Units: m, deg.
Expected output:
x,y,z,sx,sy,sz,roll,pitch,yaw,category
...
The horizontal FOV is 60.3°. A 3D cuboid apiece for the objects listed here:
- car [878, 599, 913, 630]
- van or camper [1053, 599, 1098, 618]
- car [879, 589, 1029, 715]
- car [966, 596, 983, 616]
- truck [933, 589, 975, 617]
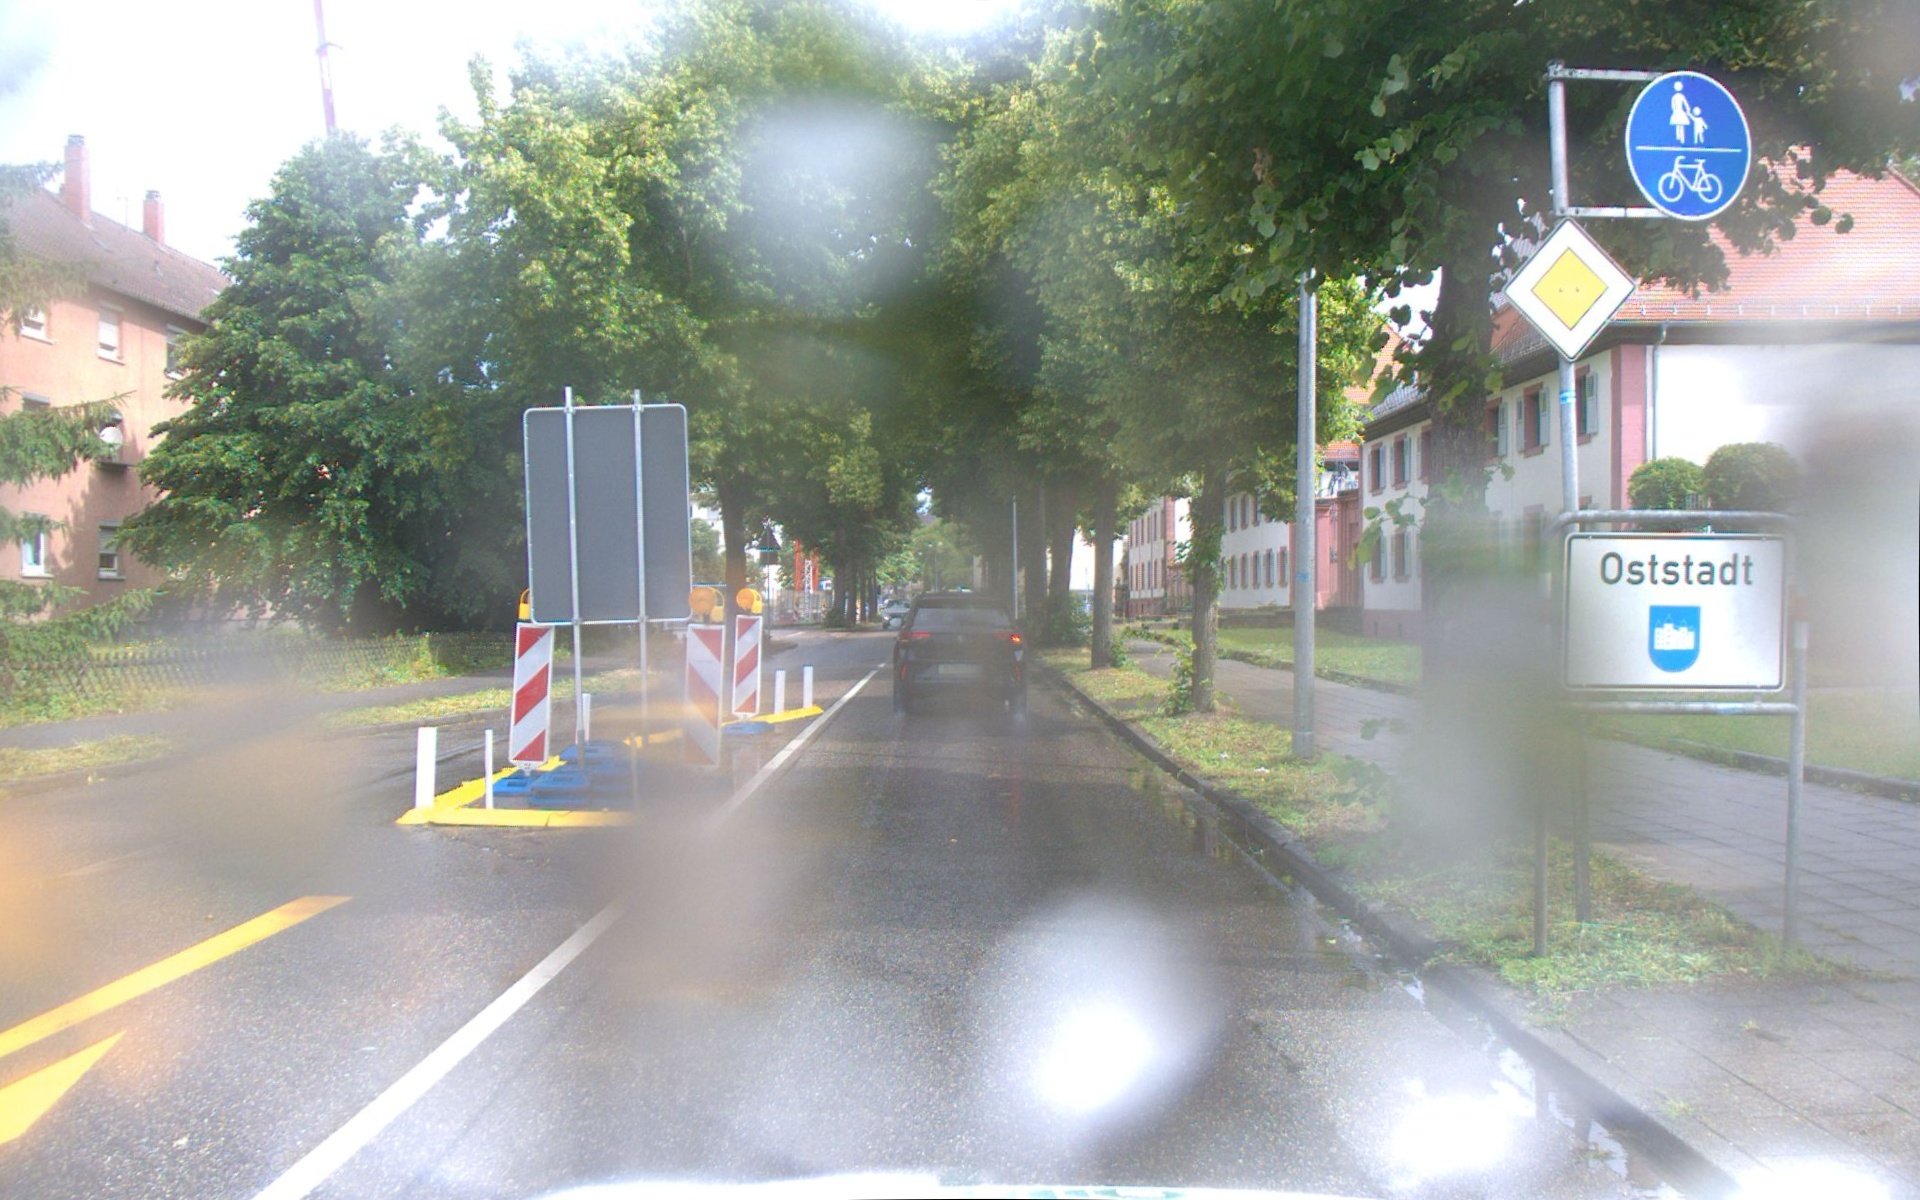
x,y,z,sx,sy,sz,roll,pitch,yaw,category
-3.725,0.845,96.660,1.848,1.743,4.229,-1,0,0,car
12.505,0.914,179.676,4.774,1.959,2.131,0,0,0,van or camper
-0.069,0.661,22.429,1.856,1.549,4.000,0,-1,0,car
1.822,0.749,207.983,1.952,2.049,4.000,-2,-6,4,car
-0.629,0.265,158.635,2.754,2.703,8.221,0,0,-10,truck
